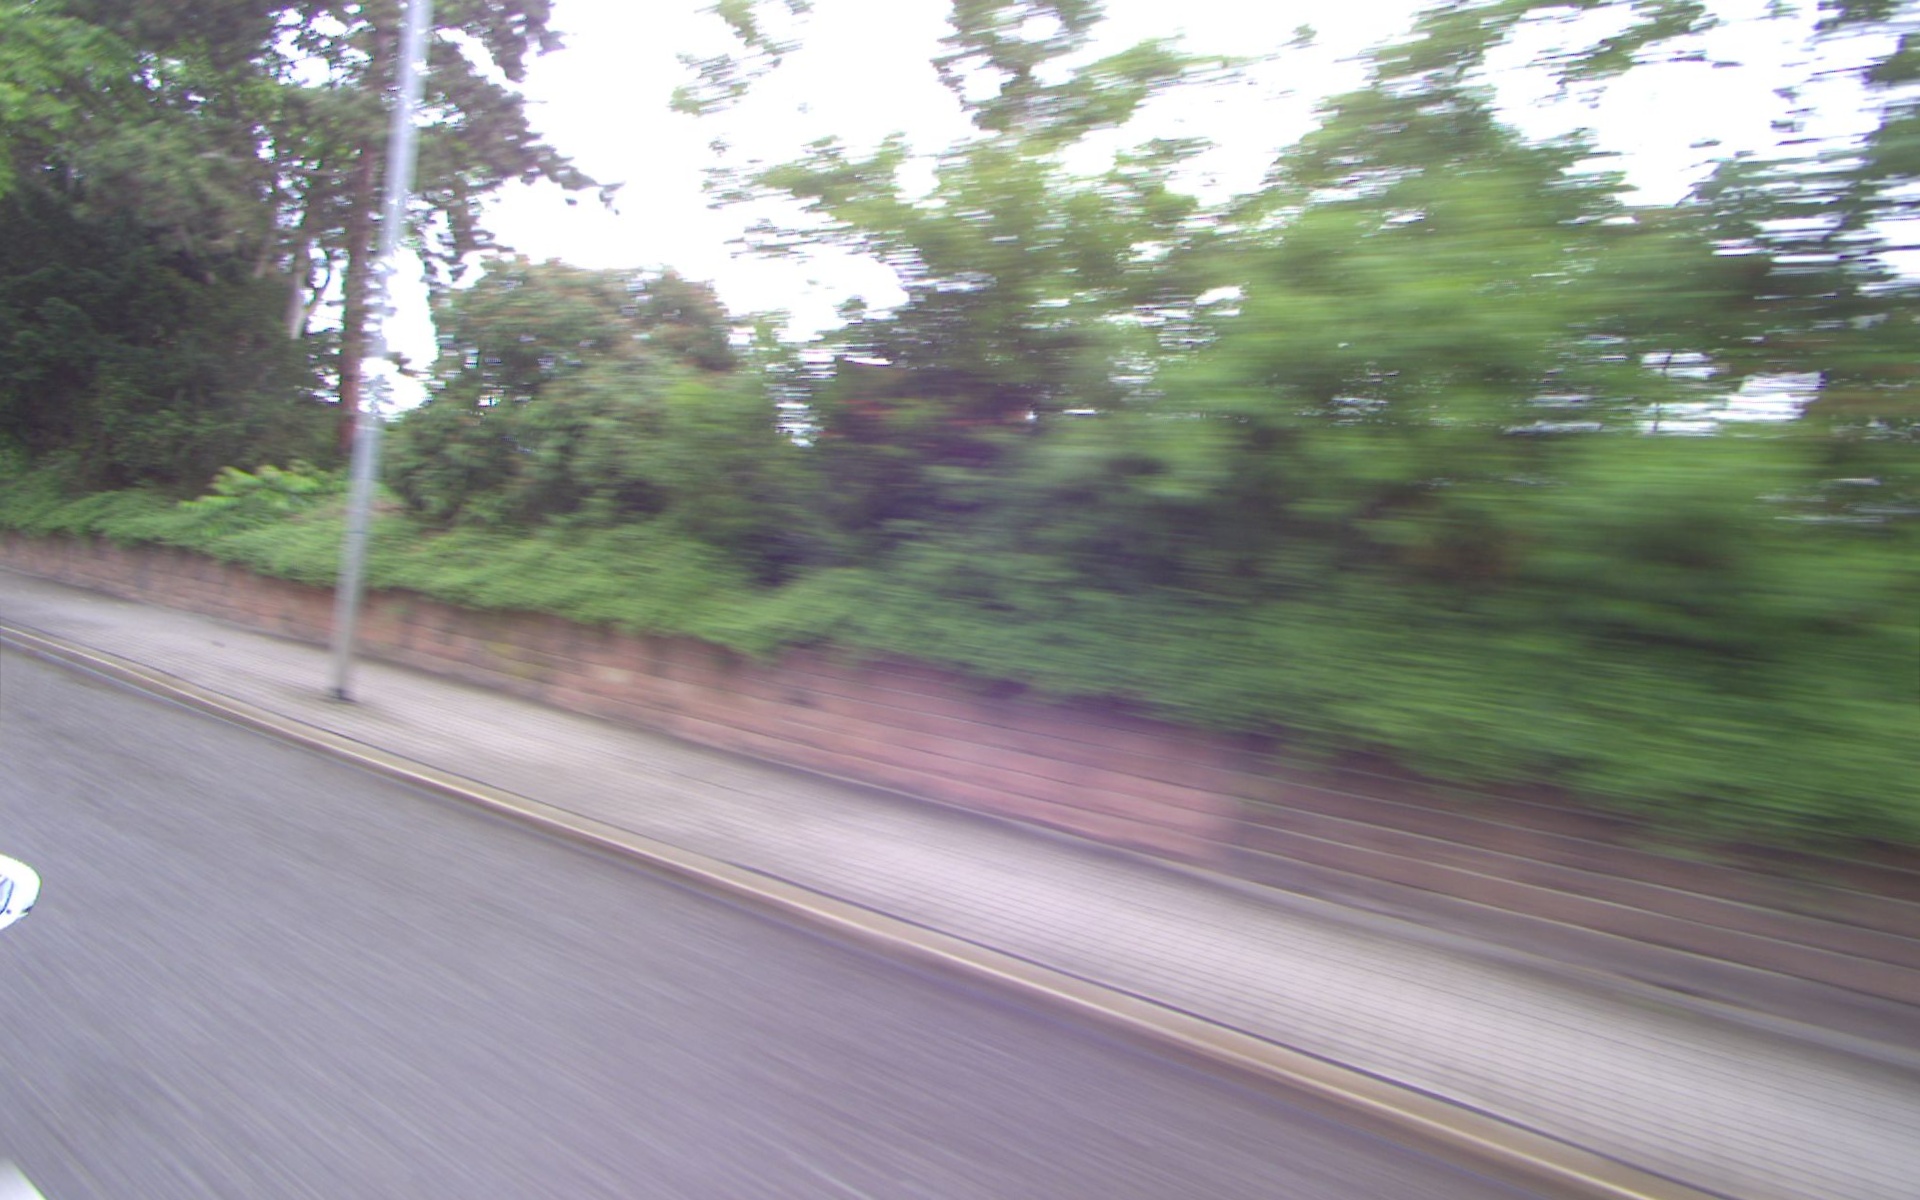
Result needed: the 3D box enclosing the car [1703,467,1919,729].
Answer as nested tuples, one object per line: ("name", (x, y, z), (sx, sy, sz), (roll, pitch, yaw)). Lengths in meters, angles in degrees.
("car", (9.880, 0.174, 9.927), (3.942, 2.248, 1.991), (7, 2, -19))
